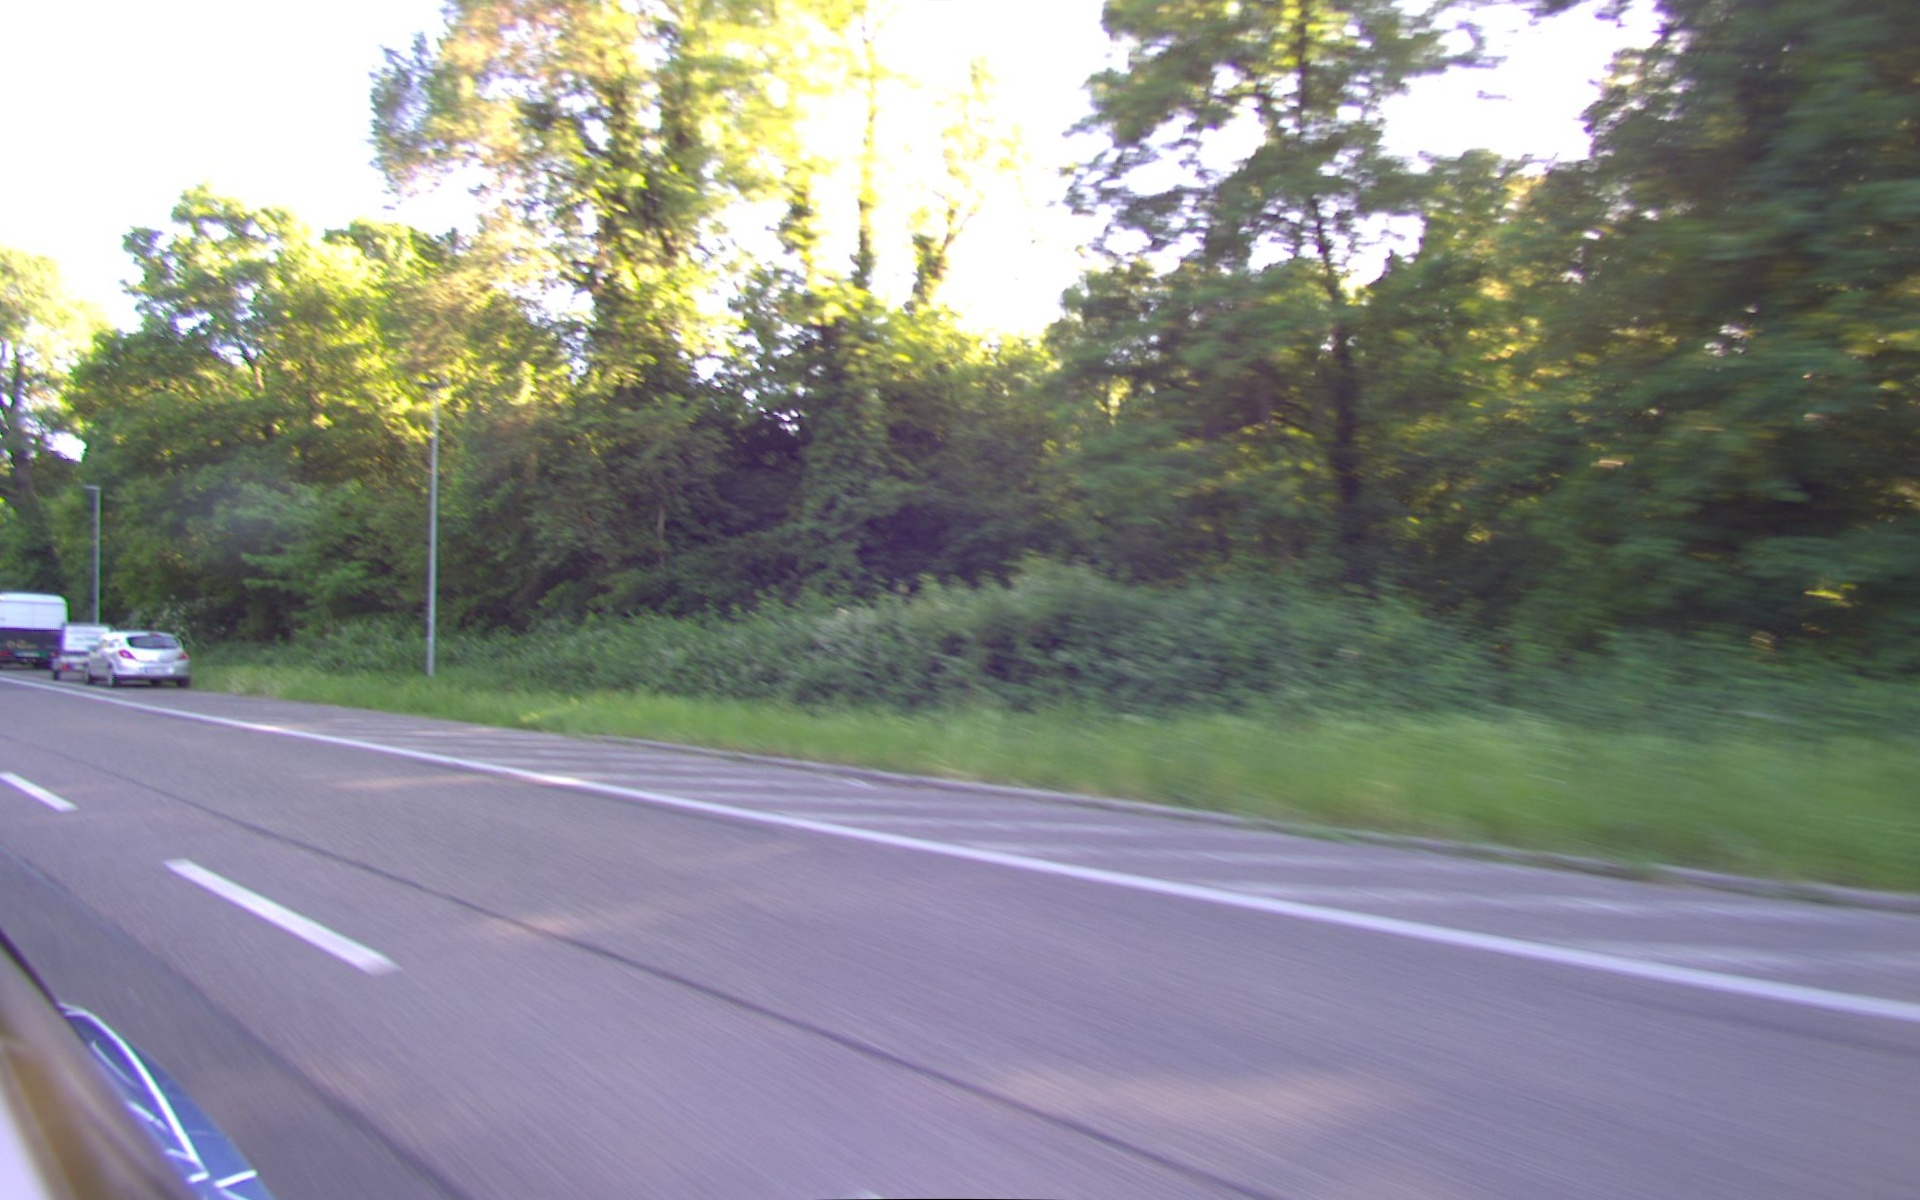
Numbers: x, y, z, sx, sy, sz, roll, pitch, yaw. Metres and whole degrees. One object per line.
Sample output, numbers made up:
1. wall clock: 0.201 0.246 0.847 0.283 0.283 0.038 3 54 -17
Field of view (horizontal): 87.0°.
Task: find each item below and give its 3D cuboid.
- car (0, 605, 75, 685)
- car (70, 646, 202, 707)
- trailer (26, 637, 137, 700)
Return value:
1. car: -35.637 1.676 38.205 4.792 2.869 2.430 -1 -3 38
2. car: -22.255 2.012 27.303 4.006 1.475 1.891 -1 -3 38
3. trailer: -26.316 2.000 30.290 3.642 1.743 1.784 -1 -3 38
